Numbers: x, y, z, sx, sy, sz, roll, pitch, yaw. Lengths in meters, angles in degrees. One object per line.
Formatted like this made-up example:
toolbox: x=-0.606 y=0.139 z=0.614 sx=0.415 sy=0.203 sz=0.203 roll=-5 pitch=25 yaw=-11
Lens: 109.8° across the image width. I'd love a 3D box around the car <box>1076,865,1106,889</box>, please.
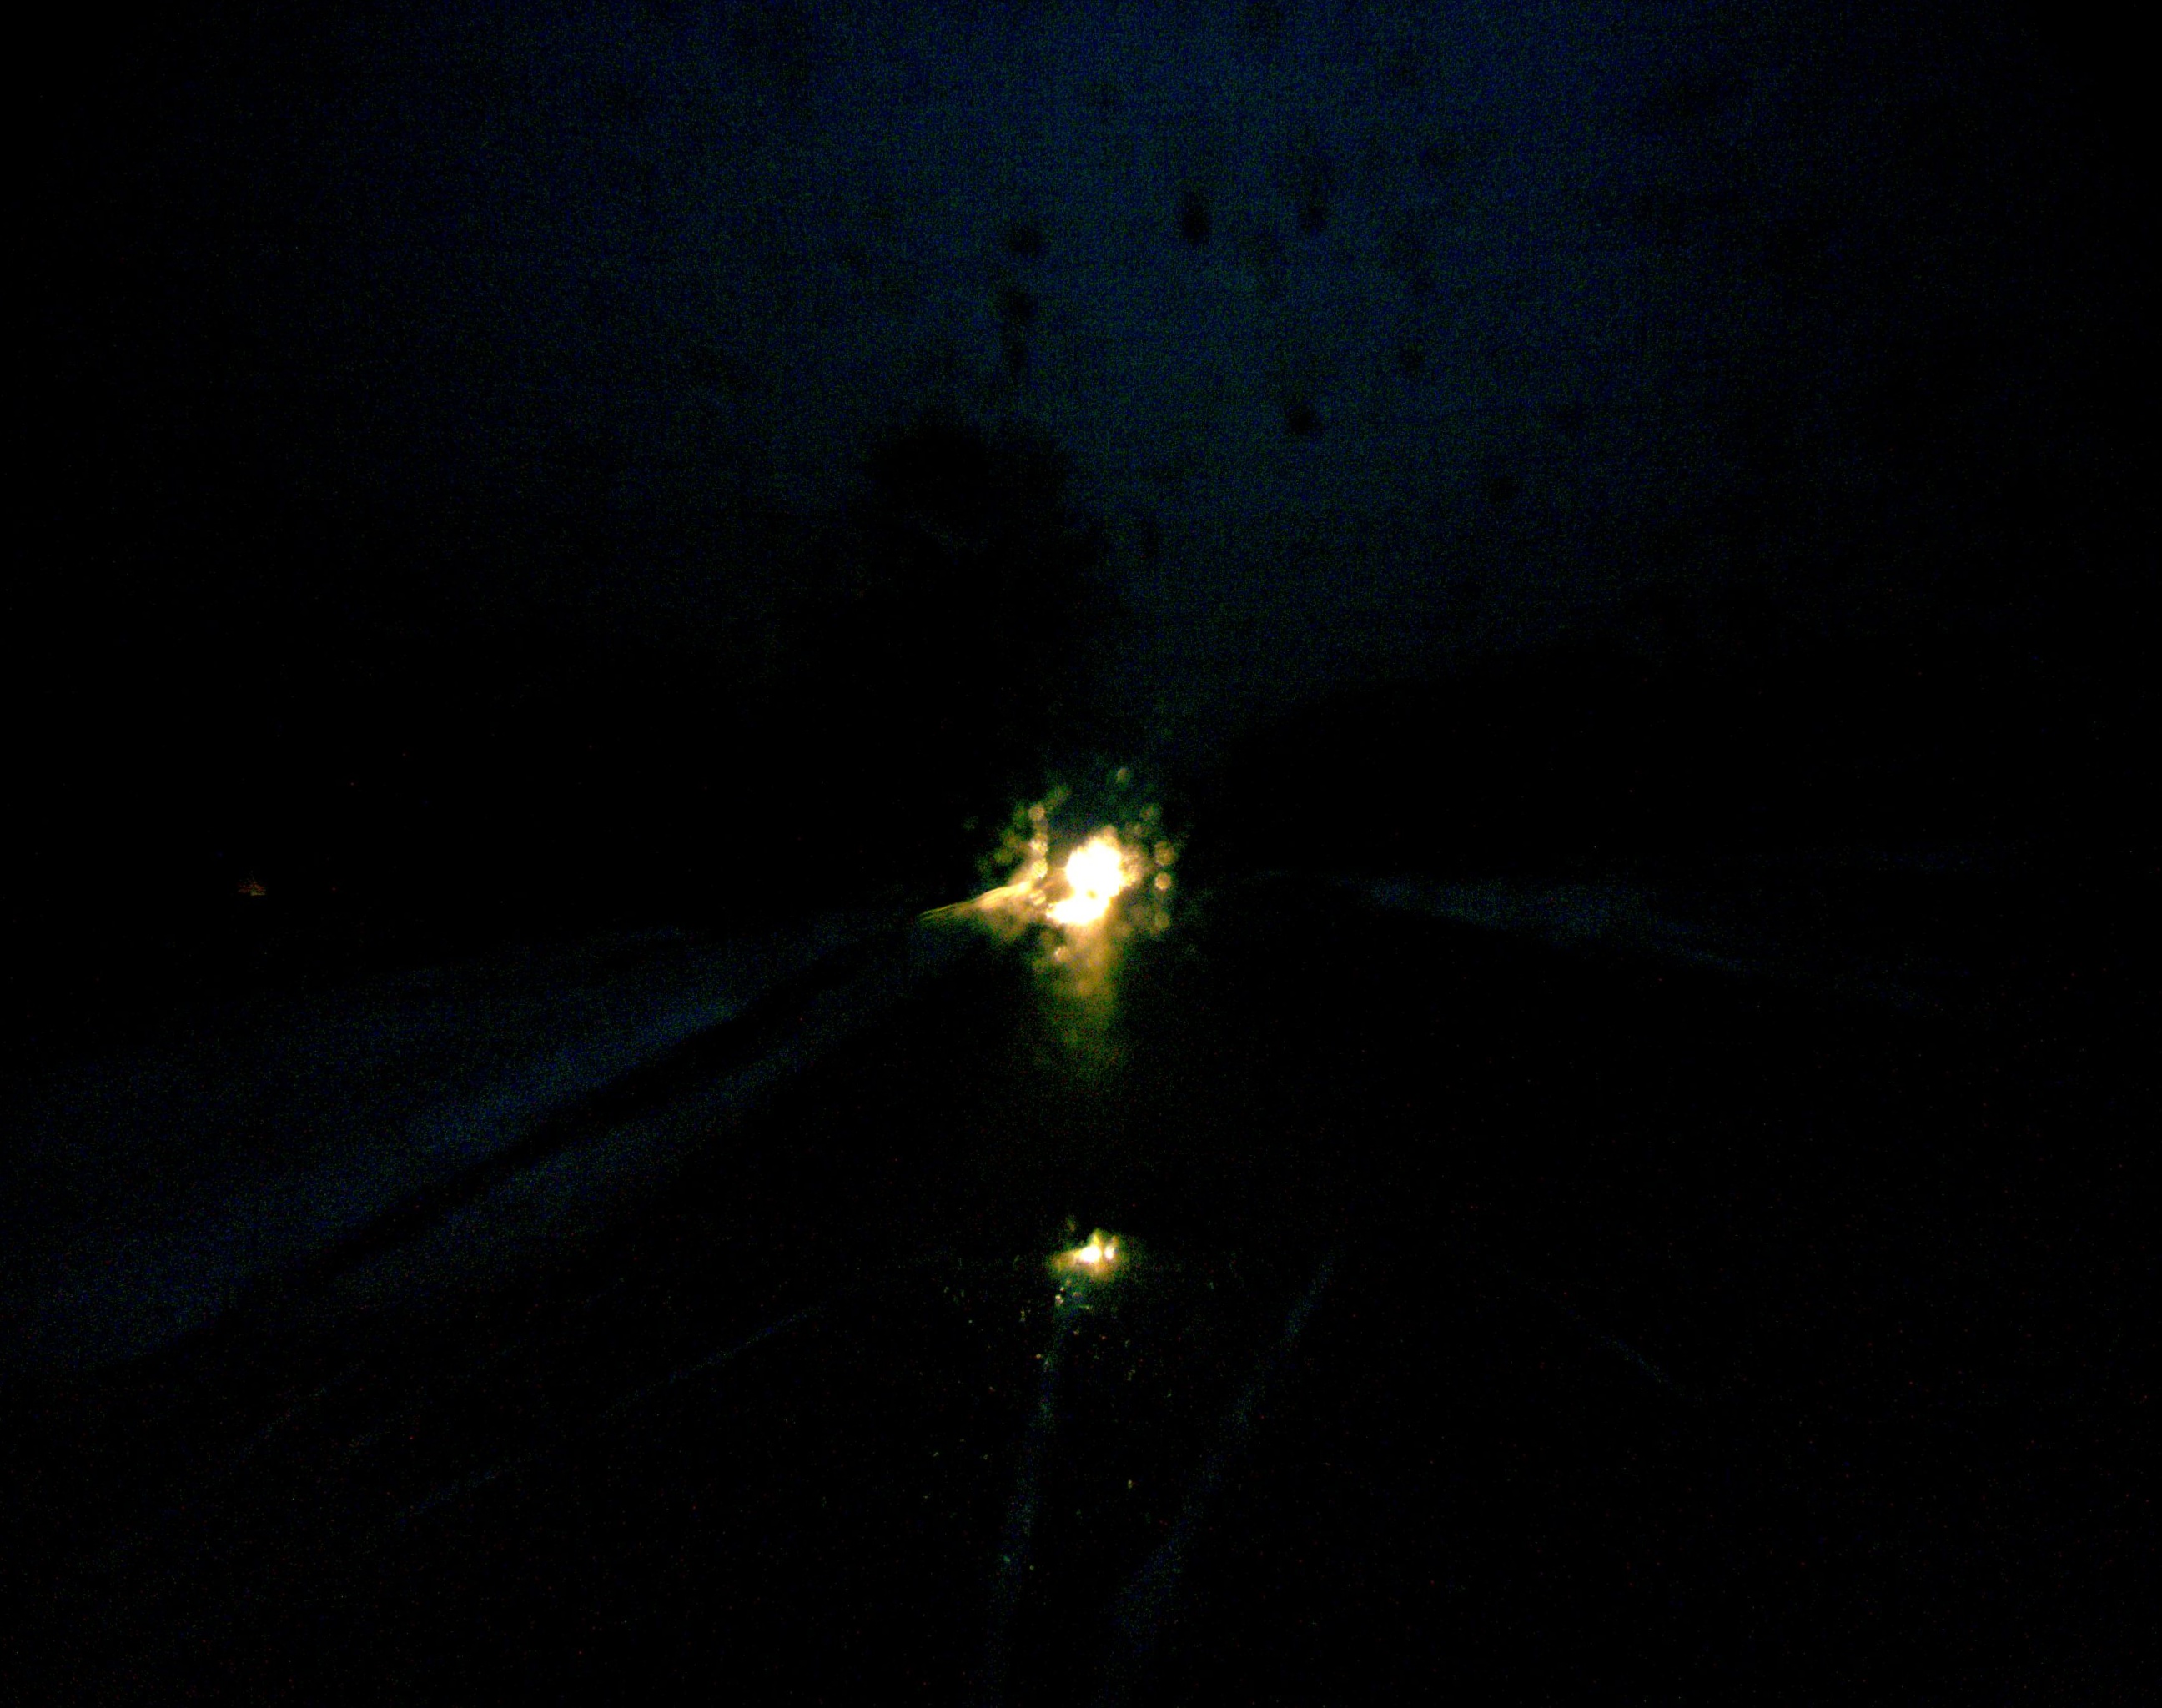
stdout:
car: x=0.668 y=1.478 z=48.491 sx=1.724 sy=1.425 sz=3.679 roll=-2 pitch=-2 yaw=4
